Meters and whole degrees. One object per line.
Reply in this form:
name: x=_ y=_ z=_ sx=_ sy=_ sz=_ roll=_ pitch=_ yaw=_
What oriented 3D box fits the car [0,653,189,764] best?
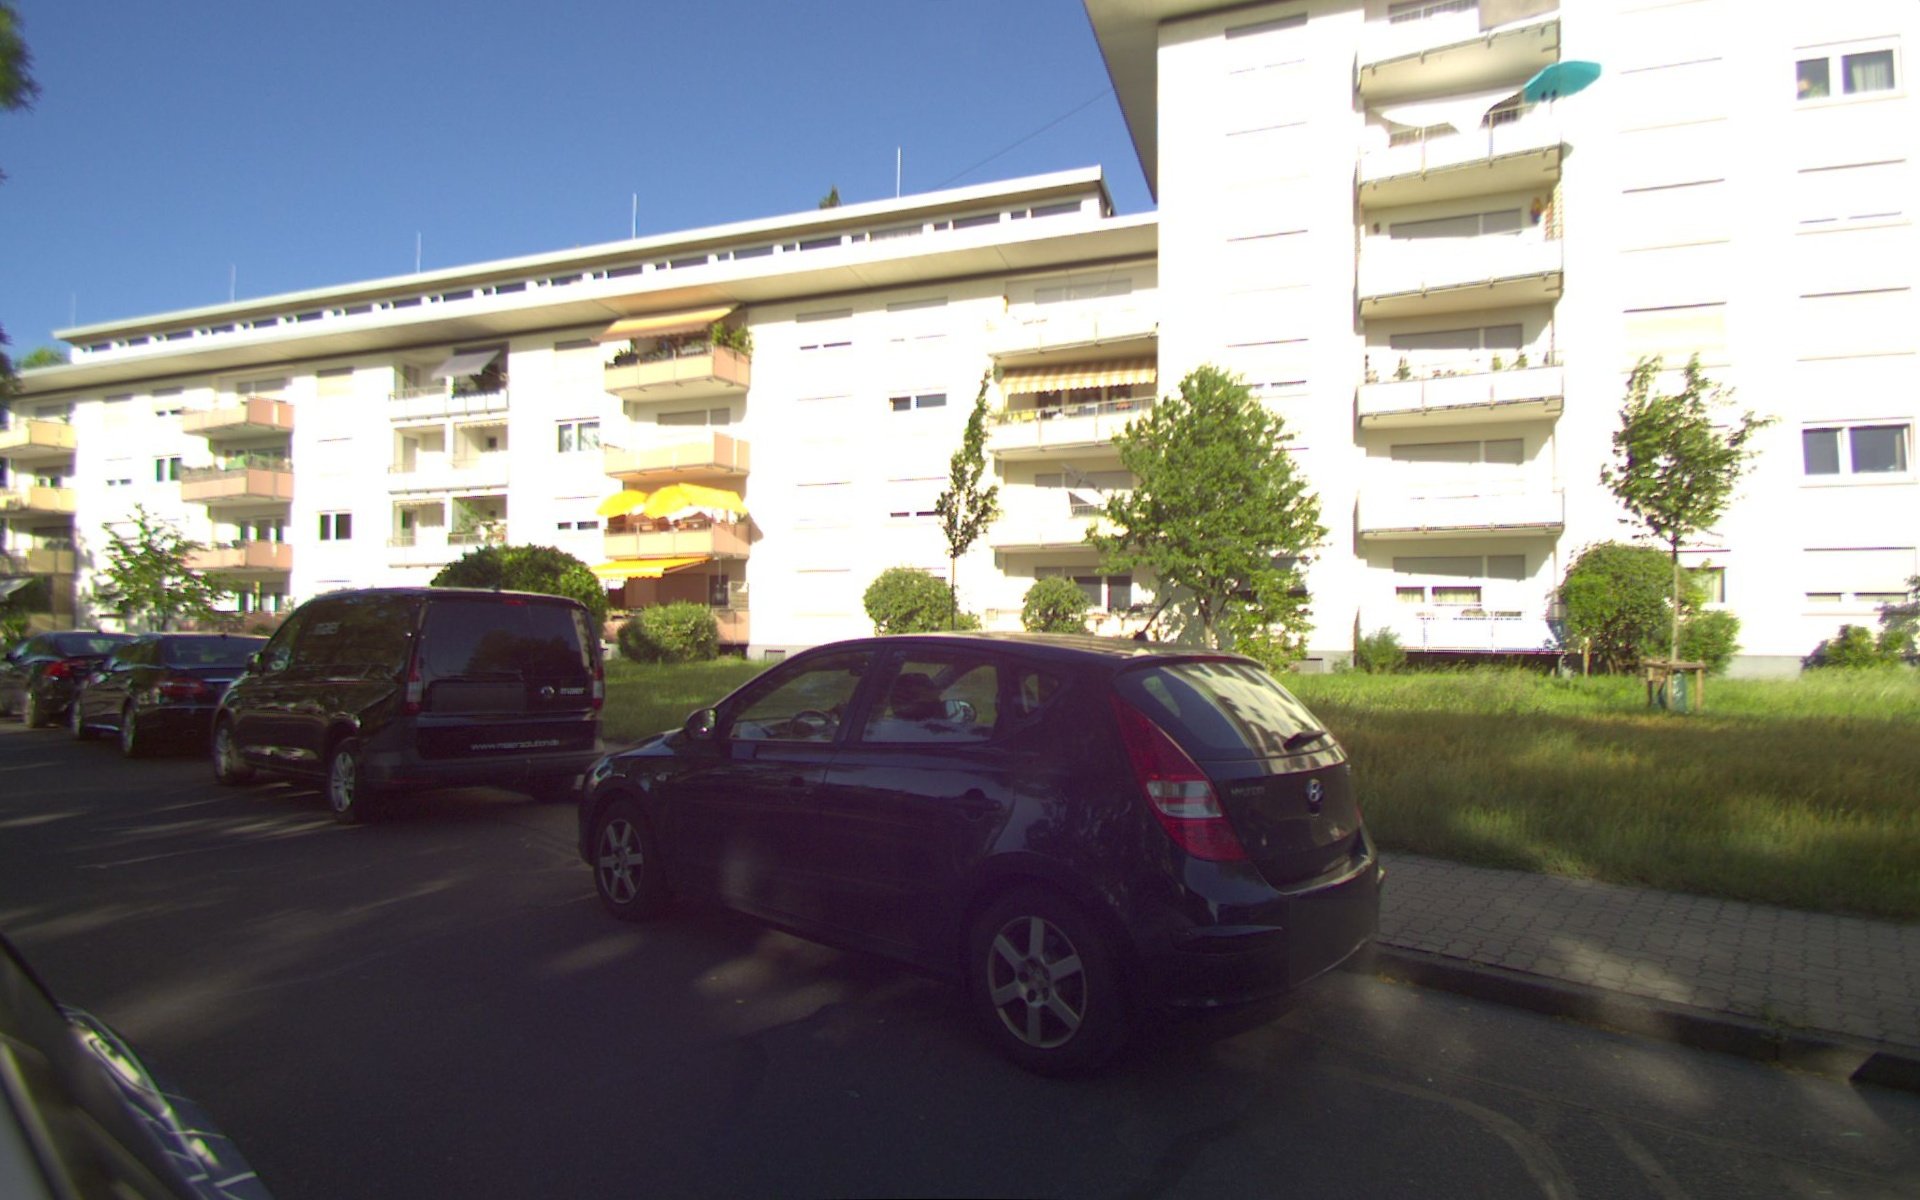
car: x=-14.302 y=1.627 z=16.277 sx=4.794 sy=1.493 sz=1.822 roll=-2 pitch=-4 yaw=38

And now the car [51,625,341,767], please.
car: x=-9.819 y=1.132 z=12.878 sx=4.569 sy=1.493 sz=1.822 roll=-2 pitch=-5 yaw=39

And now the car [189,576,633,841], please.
car: x=-5.157 y=0.832 z=9.176 sx=4.884 sy=1.794 sz=1.821 roll=-2 pitch=-4 yaw=40

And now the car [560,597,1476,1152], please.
car: x=-0.023 y=0.833 z=4.743 sx=4.017 sy=1.465 sz=1.820 roll=-2 pitch=-5 yaw=42
